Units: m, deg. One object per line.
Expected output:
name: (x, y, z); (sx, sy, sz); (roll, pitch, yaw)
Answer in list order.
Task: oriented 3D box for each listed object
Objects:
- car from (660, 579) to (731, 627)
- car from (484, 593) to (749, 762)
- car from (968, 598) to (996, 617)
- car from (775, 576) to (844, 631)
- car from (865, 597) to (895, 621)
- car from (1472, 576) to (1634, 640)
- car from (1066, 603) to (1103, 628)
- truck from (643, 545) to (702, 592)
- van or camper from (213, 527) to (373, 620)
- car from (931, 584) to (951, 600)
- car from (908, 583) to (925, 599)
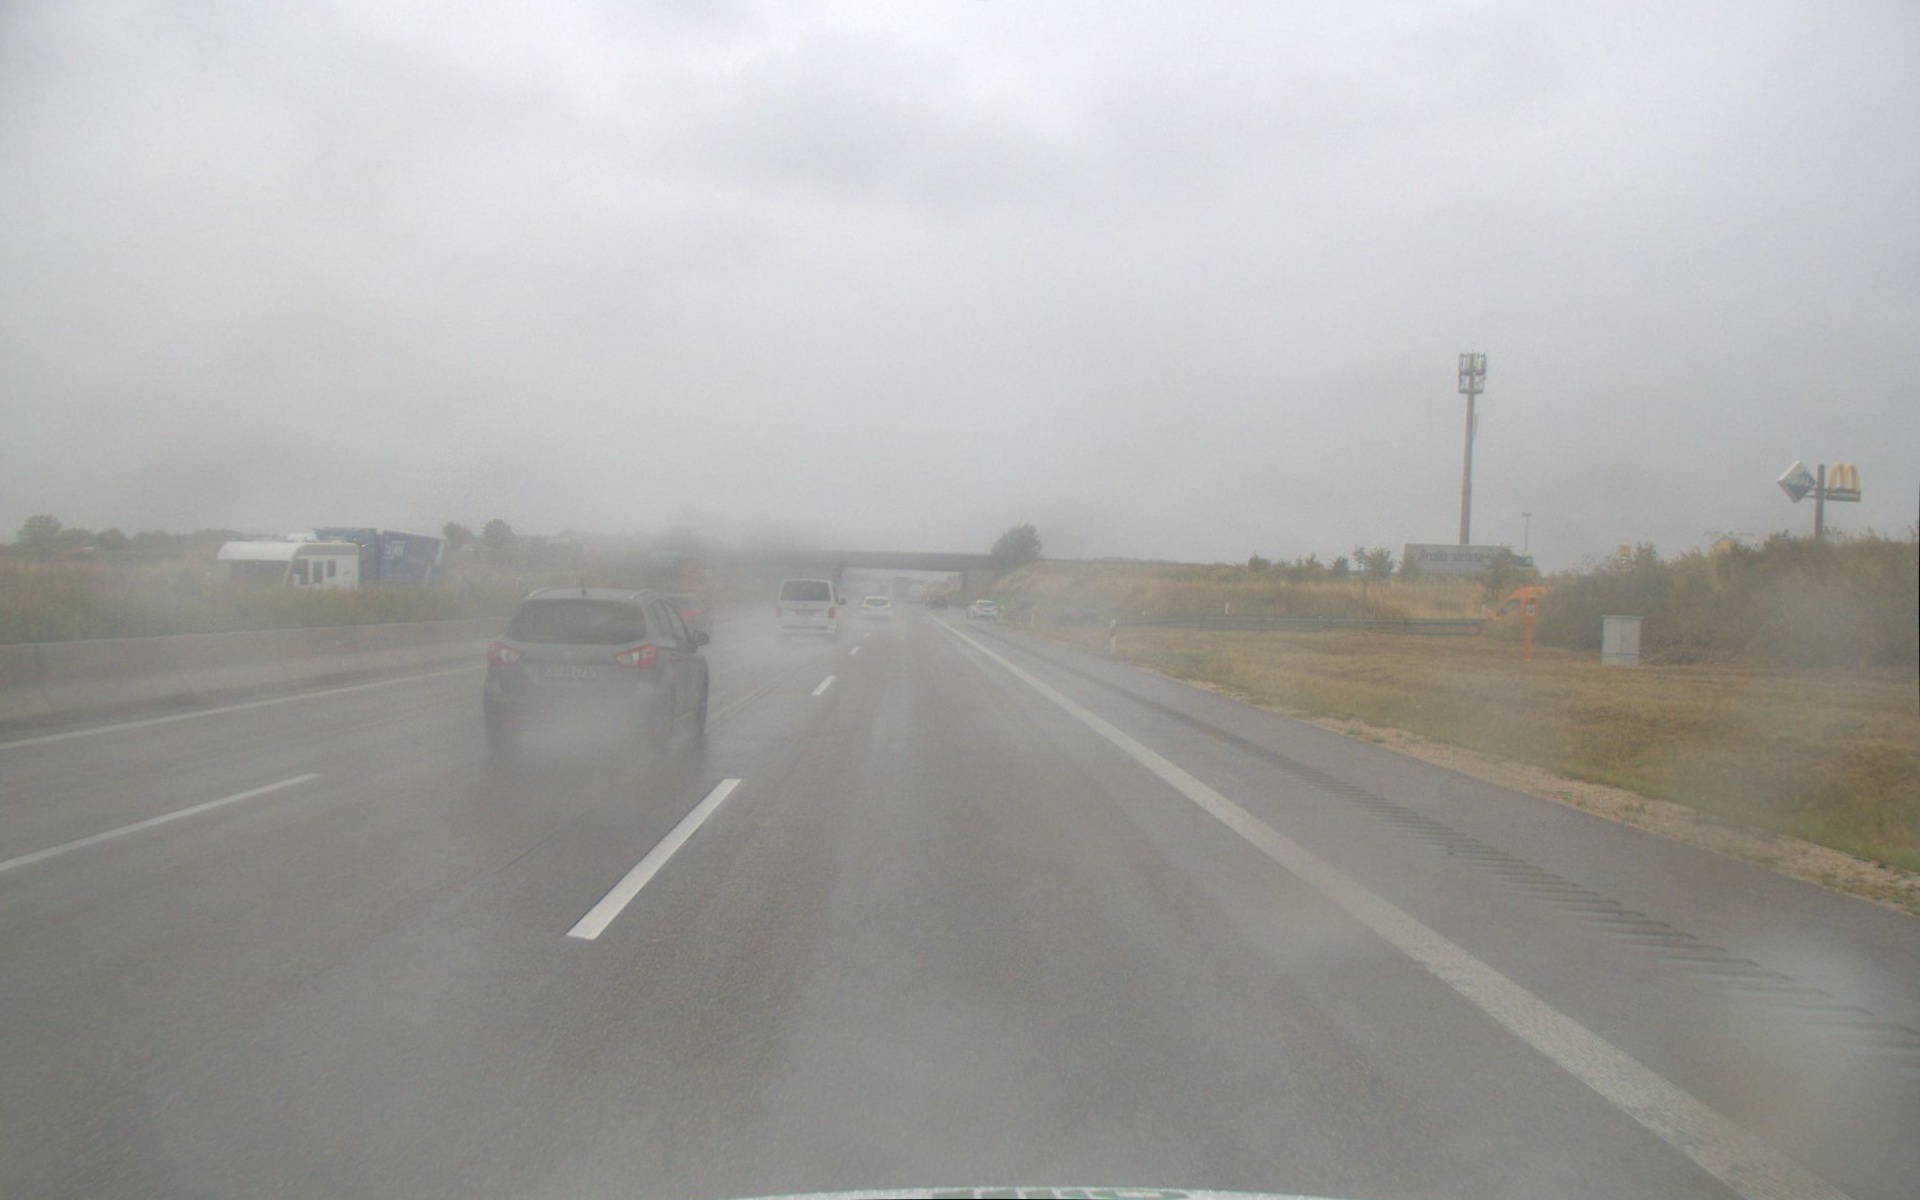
car: (-7.957, 0.101, 50.042); (1.580, 1.378, 3.998); (1, 0, -2)
car: (-3.489, 0.723, 17.721); (1.808, 1.539, 4.756); (1, 0, 0)
car: (1.643, 0.565, 123.970); (1.953, 1.288, 3.999); (1, 0, 0)
car: (-4.590, 0.114, 50.885); (1.859, 1.613, 3.998); (1, 0, -2)
car: (-4.209, 0.469, 87.460); (1.438, 1.229, 2.991); (1, 0, -1)
car: (27.487, 0.349, 76.805); (6.741, 2.661, 2.062); (3, 0, 32)
car: (7.797, 0.946, 103.639); (1.698, 1.446, 3.654); (1, 0, -5)
truck: (-22.441, -2.432, 129.802); (3.200, 3.501, 10.125); (1, 0, -2)
van or camper: (-19.910, -0.771, 49.768); (2.326, 2.552, 6.753); (1, 0, -3)
car: (-1.958, -0.809, 170.166); (1.765, 1.534, 3.996); (1, 0, -5)
car: (-5.998, -1.208, 227.828); (1.955, 2.138, 3.996); (1, 0, -5)
